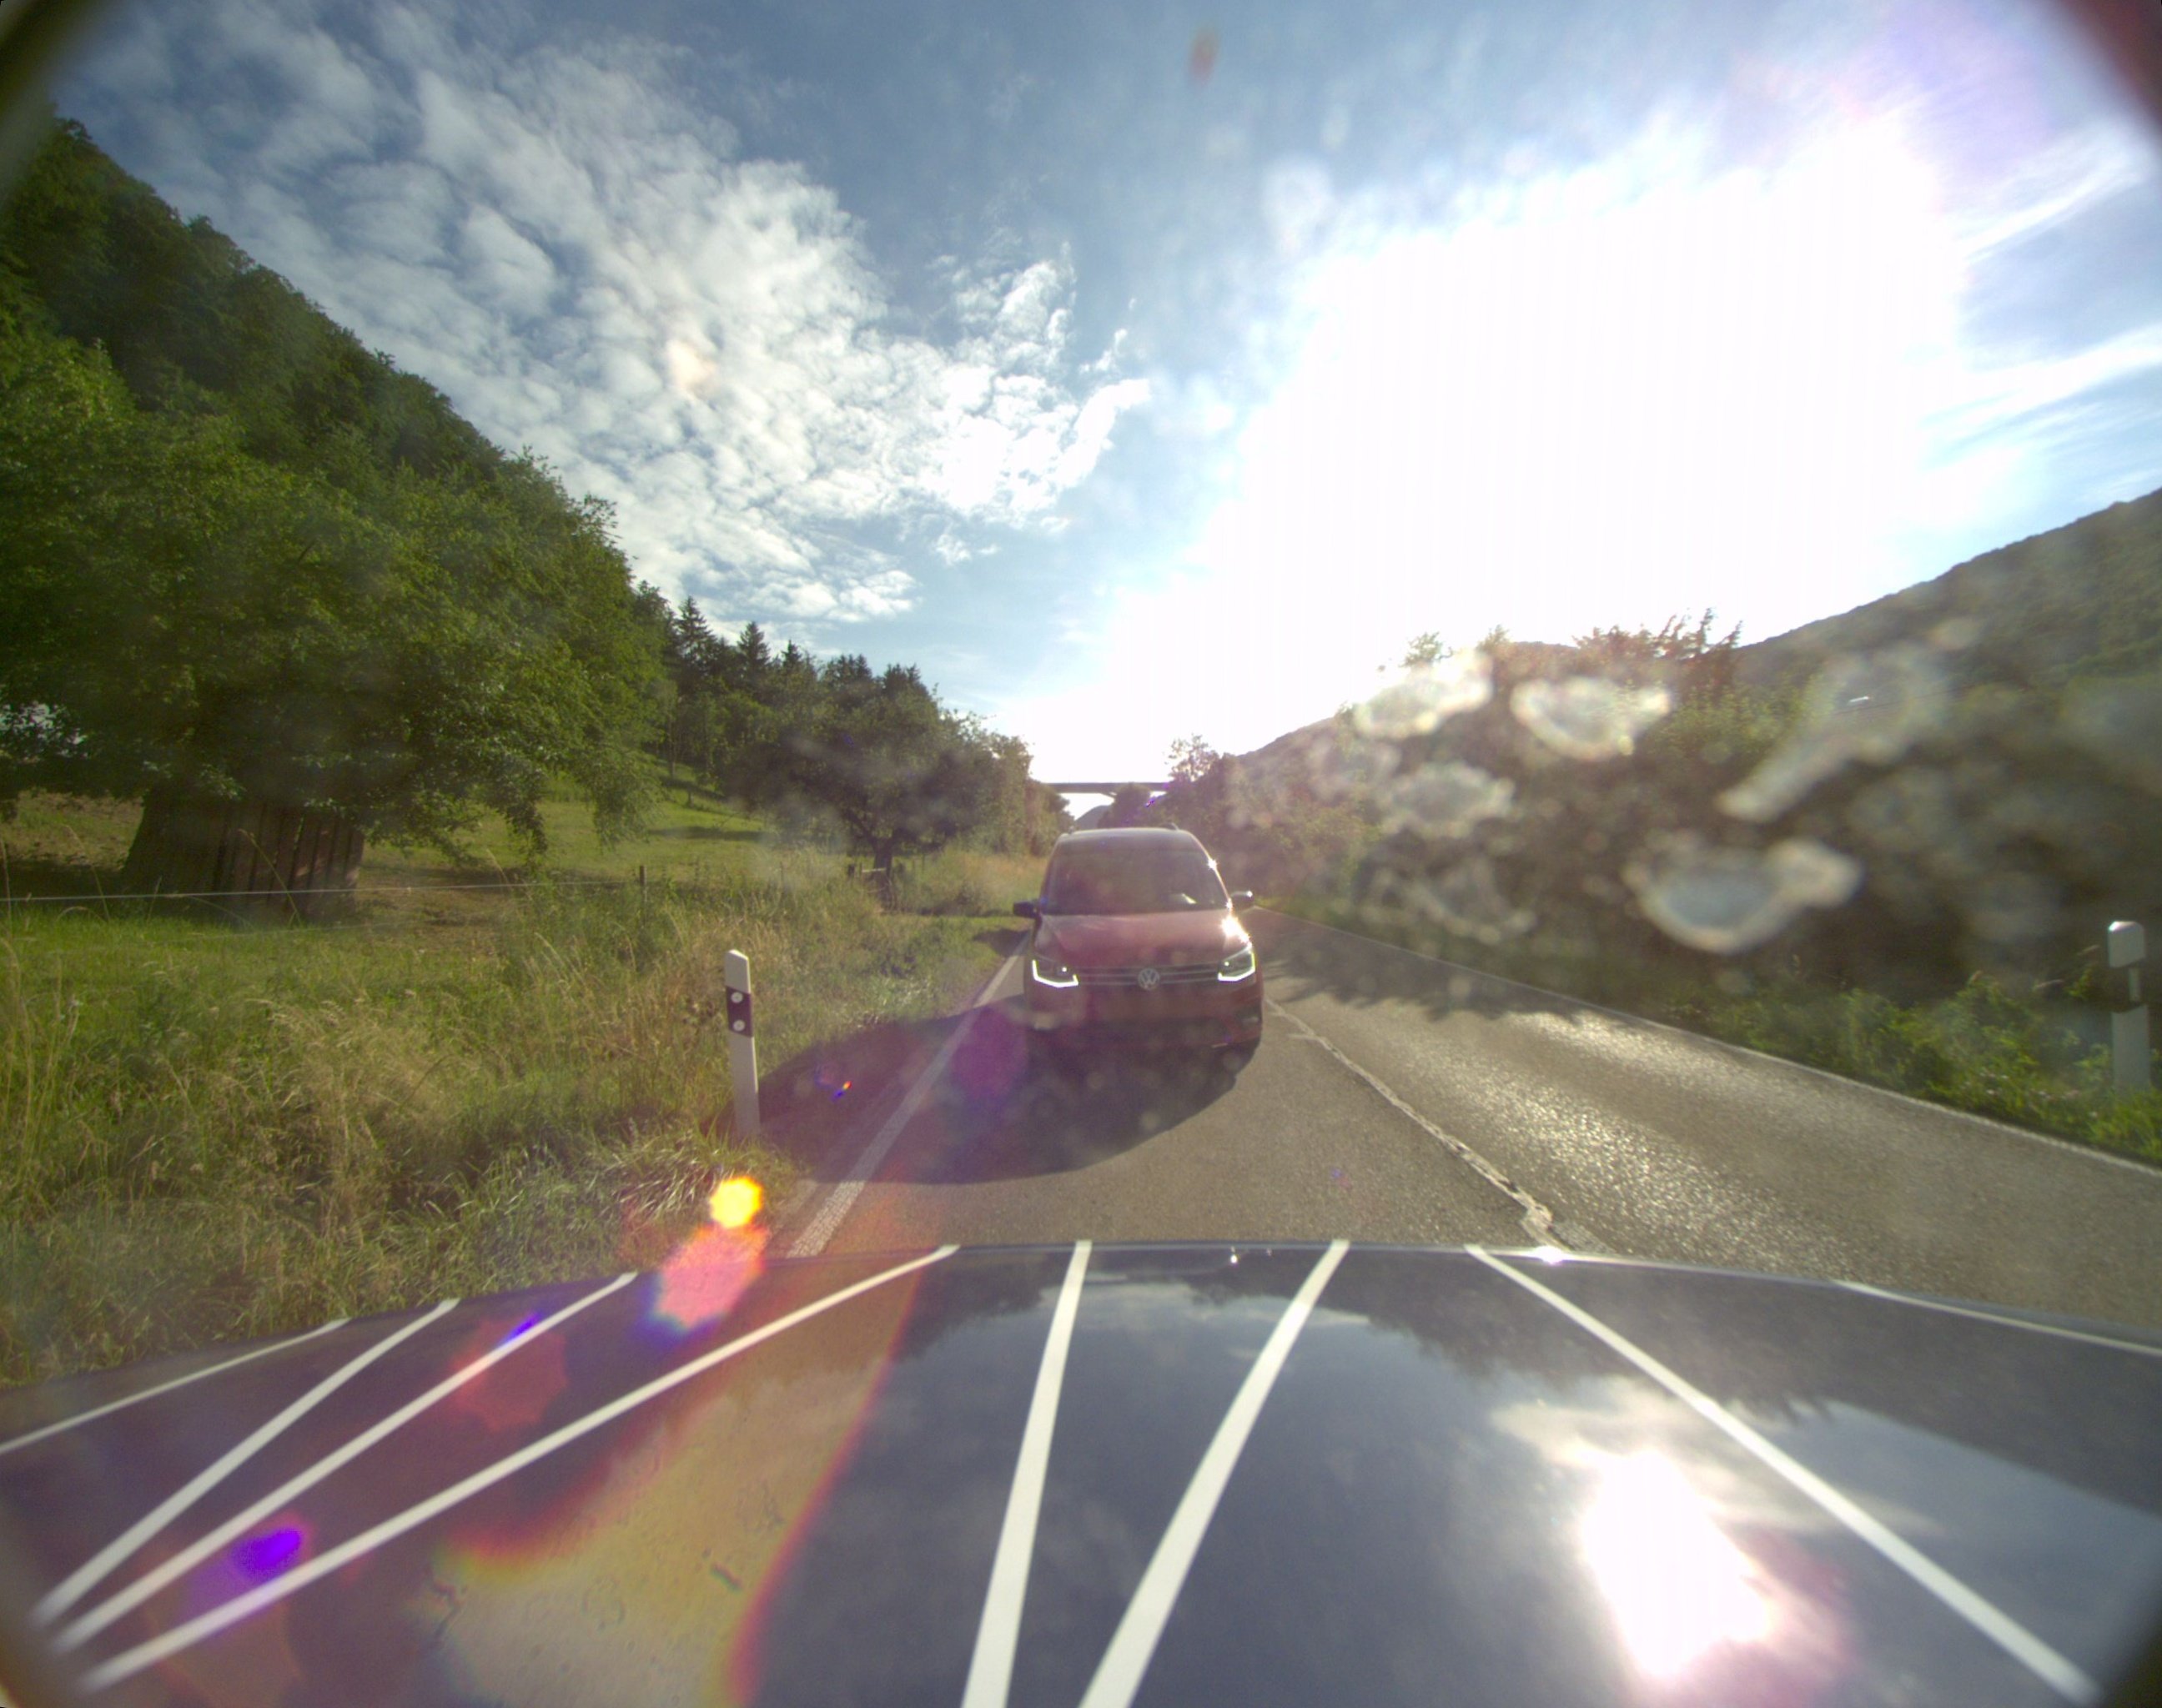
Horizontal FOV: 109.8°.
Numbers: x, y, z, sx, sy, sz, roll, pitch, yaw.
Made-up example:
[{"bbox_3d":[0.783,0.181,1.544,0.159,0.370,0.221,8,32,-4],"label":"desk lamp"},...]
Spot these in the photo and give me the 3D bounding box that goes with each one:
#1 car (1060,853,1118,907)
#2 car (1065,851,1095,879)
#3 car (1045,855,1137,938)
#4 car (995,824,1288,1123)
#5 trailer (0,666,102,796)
[{"bbox_3d":[0.281,0.822,26.489,1.753,1.608,4.288,-4,0,1],"label":"car"},{"bbox_3d":[-0.044,0.695,50.177,1.753,1.608,4.288,-4,0,1],"label":"car"},{"bbox_3d":[0.225,0.860,17.328,1.753,1.513,4.288,-4,0,1],"label":"car"},{"bbox_3d":[0.410,0.748,6.973,1.753,1.799,4.288,-4,0,1],"label":"car"},{"bbox_3d":[-23.872,-2.759,15.058,2.158,2.542,5.248,1,-3,-3],"label":"trailer"}]
